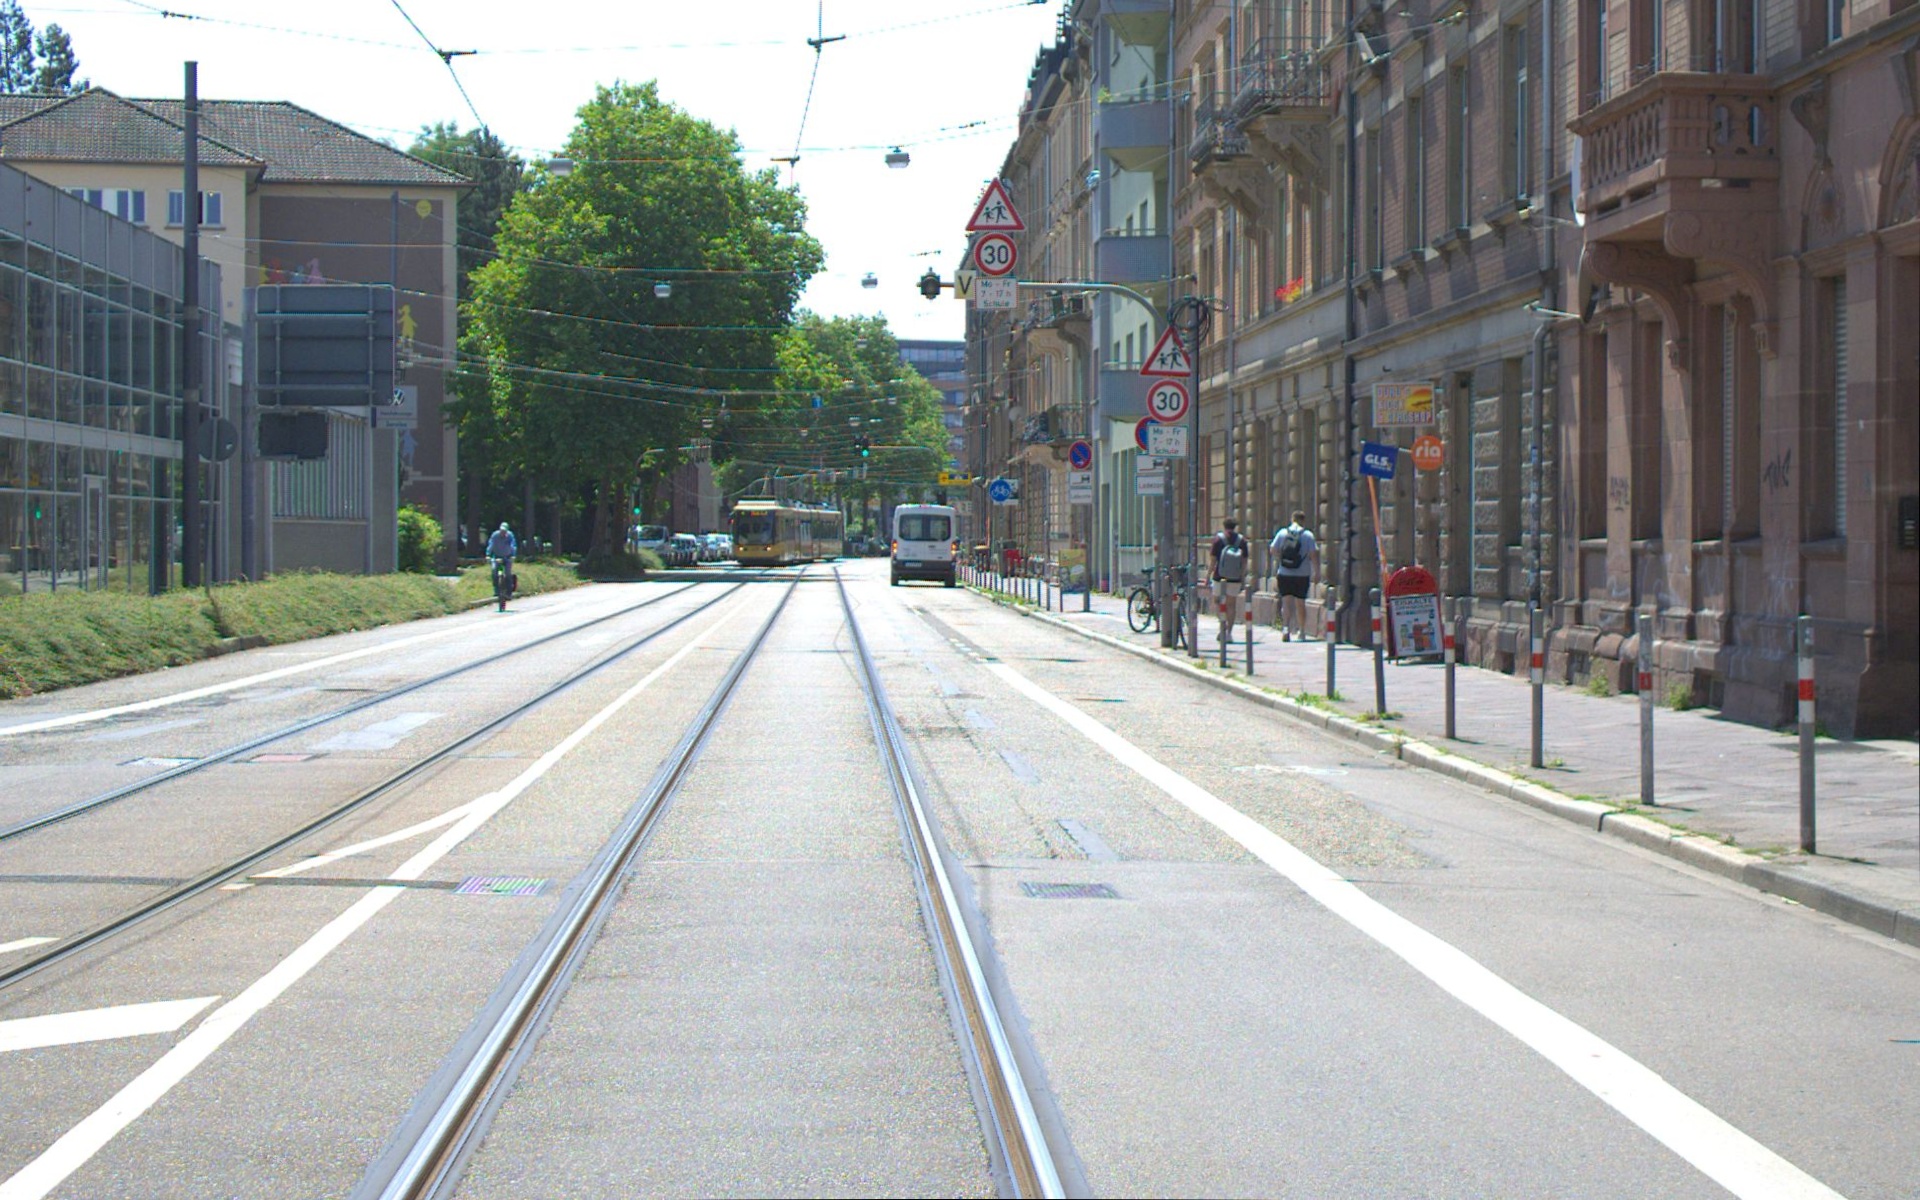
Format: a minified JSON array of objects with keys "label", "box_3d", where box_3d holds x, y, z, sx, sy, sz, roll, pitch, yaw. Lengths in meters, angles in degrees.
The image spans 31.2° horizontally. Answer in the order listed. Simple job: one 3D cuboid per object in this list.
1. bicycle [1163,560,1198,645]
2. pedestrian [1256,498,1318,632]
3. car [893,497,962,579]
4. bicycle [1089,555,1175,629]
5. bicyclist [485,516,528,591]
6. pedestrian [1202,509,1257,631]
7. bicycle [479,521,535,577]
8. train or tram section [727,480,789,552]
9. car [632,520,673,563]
[{"label":"bicycle","box_3d":[2.970,0.022,46.377,0.447,1.093,2.422,0,1,3]},{"label":"pedestrian","box_3d":[4.630,-0.504,48.654,0.702,1.842,0.644,-4,1,-1]},{"label":"car","box_3d":[-1.042,-1.967,108.317,2.067,2.492,5.454,1,1,-1]},{"label":"bicycle","box_3d":[2.721,-0.140,54.226,0.499,1.127,2.240,0,1,27]},{"label":"bicyclist","box_3d":[-9.380,-0.970,71.167,0.698,1.543,0.980,0,1,4]},{"label":"pedestrian","box_3d":[3.828,-0.433,48.869,0.720,1.714,0.644,0,1,-1]},{"label":"bicycle","box_3d":[-9.368,-1.071,71.213,0.698,1.140,2.495,0,1,3]},{"label":"train or tram section","box_3d":[-10.298,-4.276,176.073,2.960,3.568,13.425,0,1,-3]},{"label":"car","box_3d":[-14.141,-2.711,158.074,1.800,1.916,4.001,1,1,-4]}]
